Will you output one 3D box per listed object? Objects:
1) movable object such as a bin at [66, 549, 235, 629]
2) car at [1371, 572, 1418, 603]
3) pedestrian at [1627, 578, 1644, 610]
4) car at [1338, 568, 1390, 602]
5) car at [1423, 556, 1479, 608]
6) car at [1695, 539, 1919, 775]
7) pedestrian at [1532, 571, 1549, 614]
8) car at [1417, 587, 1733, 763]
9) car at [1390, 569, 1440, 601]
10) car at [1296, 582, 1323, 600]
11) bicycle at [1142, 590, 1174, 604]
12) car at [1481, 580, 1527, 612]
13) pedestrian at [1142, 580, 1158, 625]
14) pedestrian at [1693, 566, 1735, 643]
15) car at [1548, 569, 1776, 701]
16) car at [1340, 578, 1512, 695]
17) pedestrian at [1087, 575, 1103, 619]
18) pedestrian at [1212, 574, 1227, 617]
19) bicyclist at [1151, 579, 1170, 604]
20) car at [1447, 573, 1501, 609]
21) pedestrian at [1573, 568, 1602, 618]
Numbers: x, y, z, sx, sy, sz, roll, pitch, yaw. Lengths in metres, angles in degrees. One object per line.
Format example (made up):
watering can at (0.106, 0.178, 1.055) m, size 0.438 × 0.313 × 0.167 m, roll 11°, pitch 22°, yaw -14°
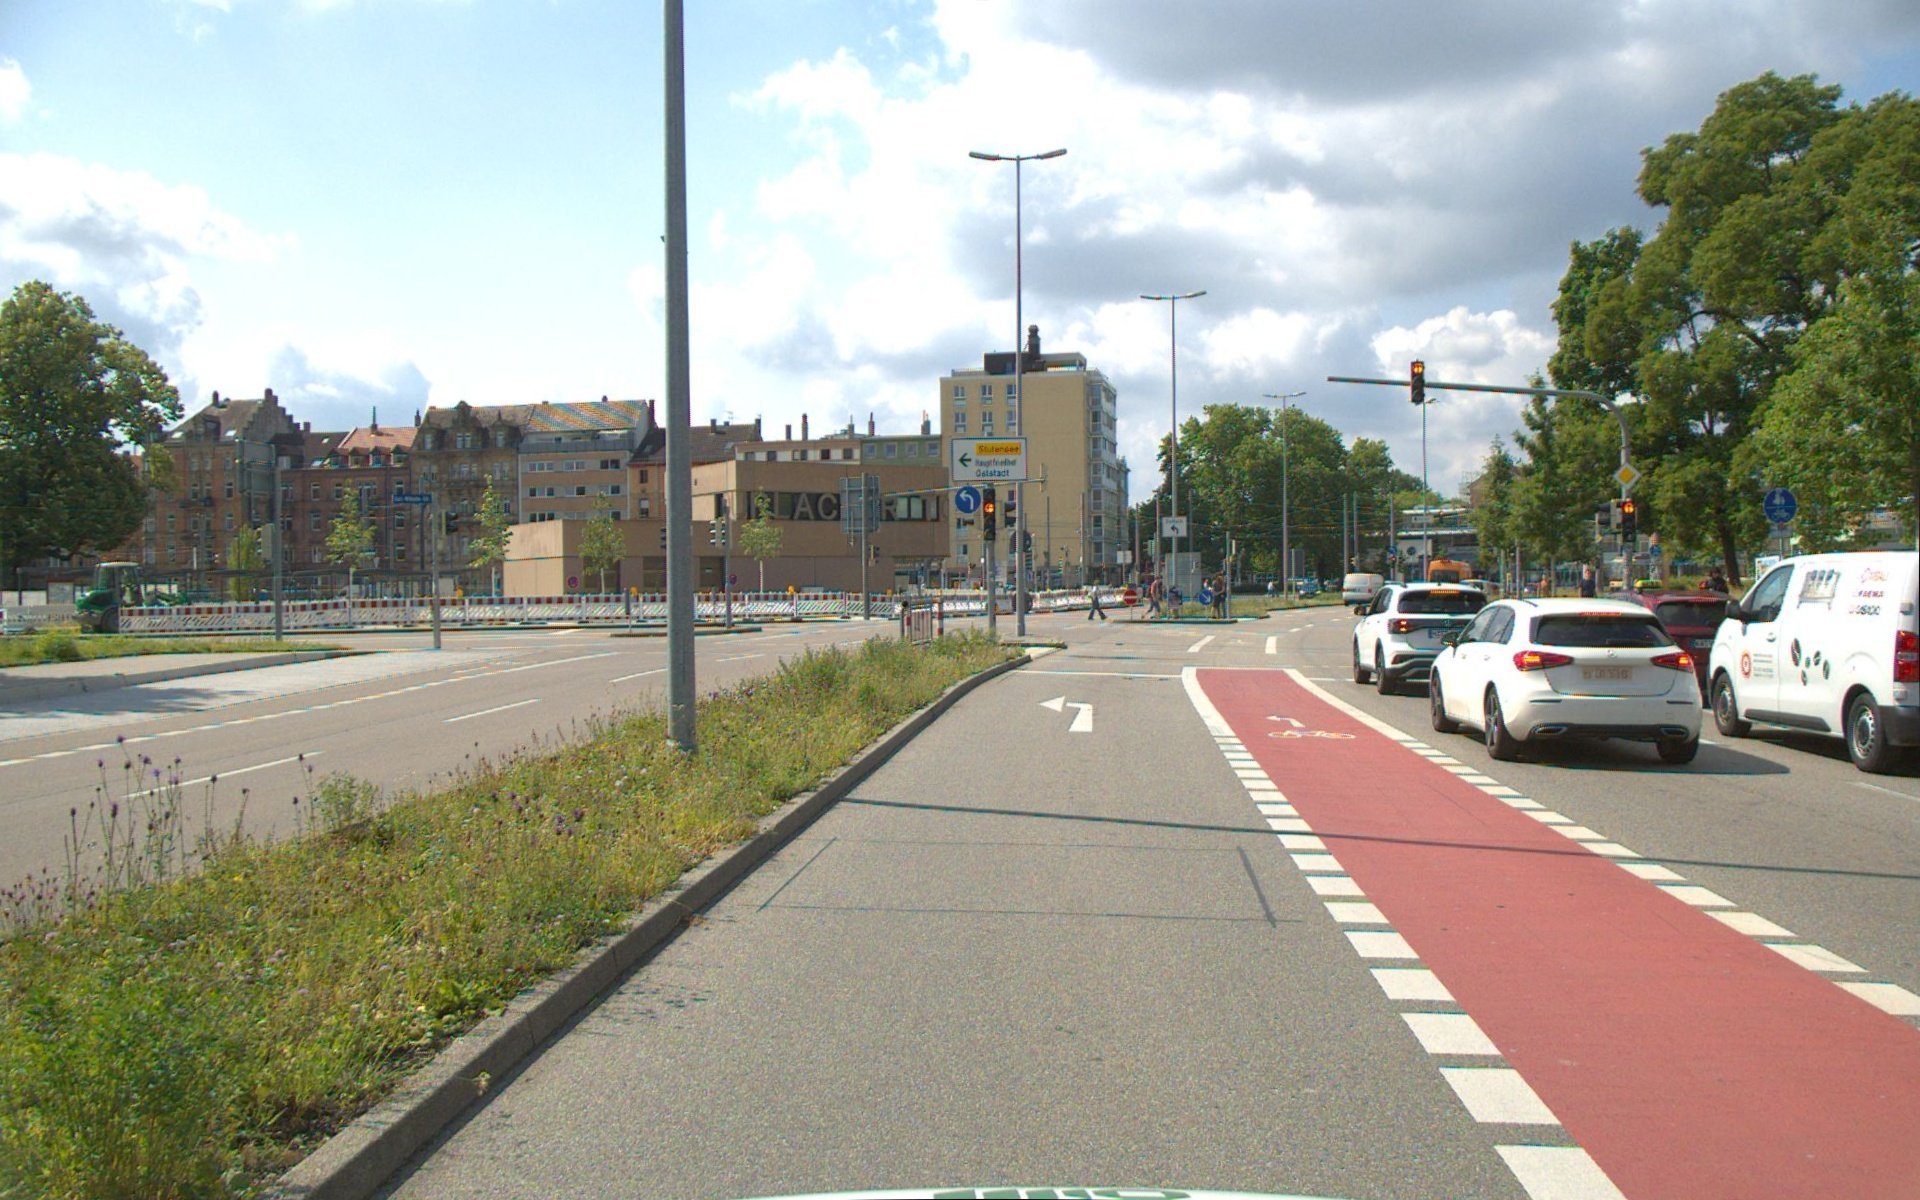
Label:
movable object such as a bin at (-31.215, -0.435, 63.879) m, size 5.495 × 2.935 × 2.253 m, roll -1°, pitch 0°, yaw -42°
car at (28.731, -0.814, 109.256) m, size 1.954 × 1.972 × 4.631 m, roll -1°, pitch 0°, yaw 29°
pedestrian at (37.961, -0.339, 92.902) m, size 0.774 × 1.815 × 0.665 m, roll -1°, pitch 0°, yaw 32°
car at (24.847, -0.936, 101.639) m, size 1.967 × 2.001 × 4.631 m, roll -1°, pitch 0°, yaw 29°
car at (28.065, -1.029, 94.434) m, size 2.089 × 2.829 × 4.631 m, roll -1°, pitch 0°, yaw 29°
car at (8.795, 0.411, 15.675) m, size 1.901 × 1.902 × 4.829 m, roll -1°, pitch 1°, yaw 6°
pedestrian at (24.006, -0.307, 68.385) m, size 0.646 × 1.764 × 0.578 m, roll -1°, pitch 0°, yaw 17°
car at (5.849, 0.629, 16.308) m, size 1.863 × 1.448 × 4.388 m, roll -1°, pitch 1°, yaw 6°
car at (27.359, -0.888, 99.419) m, size 1.956 × 1.858 × 3.992 m, roll -1°, pitch 0°, yaw 30°
car at (27.971, -0.761, 132.332) m, size 1.754 × 1.412 × 4.229 m, roll 0°, pitch 0°, yaw 18°
bicycle at (15.348, -0.214, 128.104) m, size 2.332 × 1.085 × 0.858 m, roll -1°, pitch 0°, yaw 26°
car at (34.835, -0.289, 105.925) m, size 1.954 × 1.972 × 4.631 m, roll -1°, pitch 0°, yaw 29°
pedestrian at (7.475, 0.104, 65.172) m, size 0.513 × 1.764 × 0.624 m, roll -1°, pitch 0°, yaw 15°
pedestrian at (17.529, 0.099, 38.457) m, size 0.726 × 1.766 × 0.679 m, roll -1°, pitch 0°, yaw 12°
car at (9.708, 0.419, 23.245) m, size 1.645 × 1.670 × 4.466 m, roll 0°, pitch 1°, yaw 5°
car at (6.836, 0.472, 24.643) m, size 1.753 × 1.566 × 4.014 m, roll 1°, pitch 1°, yaw 5°
pedestrian at (5.467, -0.119, 67.027) m, size 0.513 × 1.764 × 0.624 m, roll -1°, pitch 0°, yaw 15°
pedestrian at (10.418, -0.169, 66.412) m, size 0.513 × 1.713 × 0.624 m, roll -1°, pitch 0°, yaw 15°
bicyclist at (15.510, -0.643, 128.029) m, size 1.195 × 1.943 × 0.858 m, roll -1°, pitch 0°, yaw 26°
car at (26.845, -0.487, 86.343) m, size 1.955 × 1.826 × 3.995 m, roll -1°, pitch 0°, yaw 28°
pedestrian at (19.543, -0.221, 51.545) m, size 0.753 × 1.534 × 0.552 m, roll 0°, pitch 0°, yaw 10°
